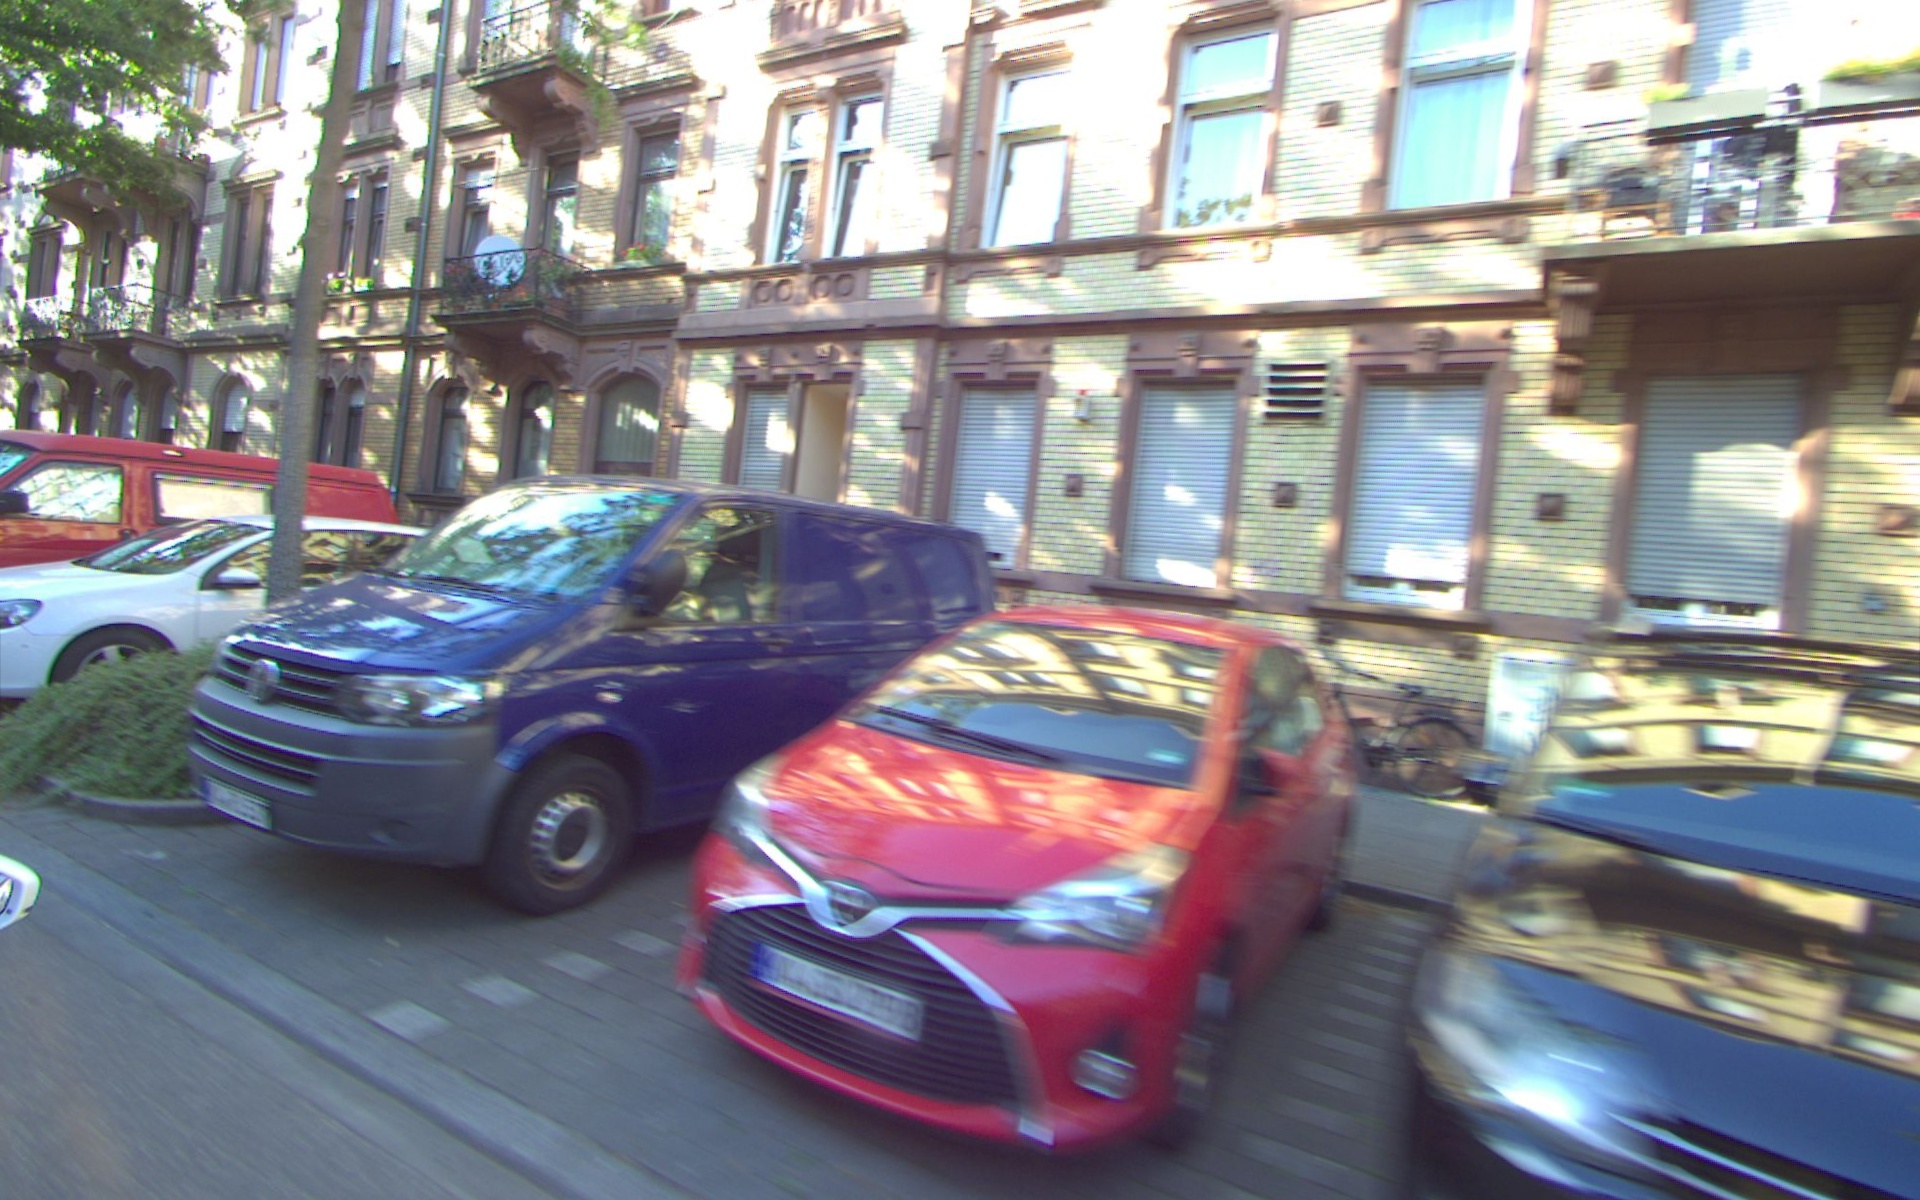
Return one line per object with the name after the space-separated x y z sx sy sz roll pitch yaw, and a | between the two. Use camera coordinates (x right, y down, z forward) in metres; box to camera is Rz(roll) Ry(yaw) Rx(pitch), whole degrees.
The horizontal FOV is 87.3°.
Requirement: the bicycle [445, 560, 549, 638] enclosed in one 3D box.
-7.008 -0.028 15.202 1.836 0.976 0.404 7 3 30 | bicycle

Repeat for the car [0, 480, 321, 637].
-10.016 -0.484 11.043 1.848 1.534 4.677 6 1 31 | car

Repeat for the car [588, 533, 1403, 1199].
0.696 0.805 4.403 1.696 1.553 4.113 6 -1 30 | car

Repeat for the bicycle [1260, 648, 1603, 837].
4.058 1.162 8.822 2.550 1.187 0.670 6 2 33 | bicycle

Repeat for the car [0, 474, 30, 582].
-16.325 -1.259 14.397 1.774 1.649 4.015 6 1 28 | car

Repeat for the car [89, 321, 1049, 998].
-1.533 0.304 5.985 1.959 2.241 5.030 6 -1 30 | car

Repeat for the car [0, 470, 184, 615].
-12.201 -0.800 12.045 1.807 1.649 4.187 6 1 33 | car

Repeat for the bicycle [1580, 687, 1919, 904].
6.166 1.424 7.467 2.550 1.187 0.670 6 2 33 | bicycle

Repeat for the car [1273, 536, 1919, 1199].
2.679 0.940 3.225 1.822 1.700 4.686 6 1 35 | car

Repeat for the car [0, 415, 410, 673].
-8.006 -0.487 9.430 1.846 2.059 4.682 6 1 27 | car

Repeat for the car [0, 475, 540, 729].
-5.727 0.001 7.996 1.847 1.530 4.058 6 1 29 | car
